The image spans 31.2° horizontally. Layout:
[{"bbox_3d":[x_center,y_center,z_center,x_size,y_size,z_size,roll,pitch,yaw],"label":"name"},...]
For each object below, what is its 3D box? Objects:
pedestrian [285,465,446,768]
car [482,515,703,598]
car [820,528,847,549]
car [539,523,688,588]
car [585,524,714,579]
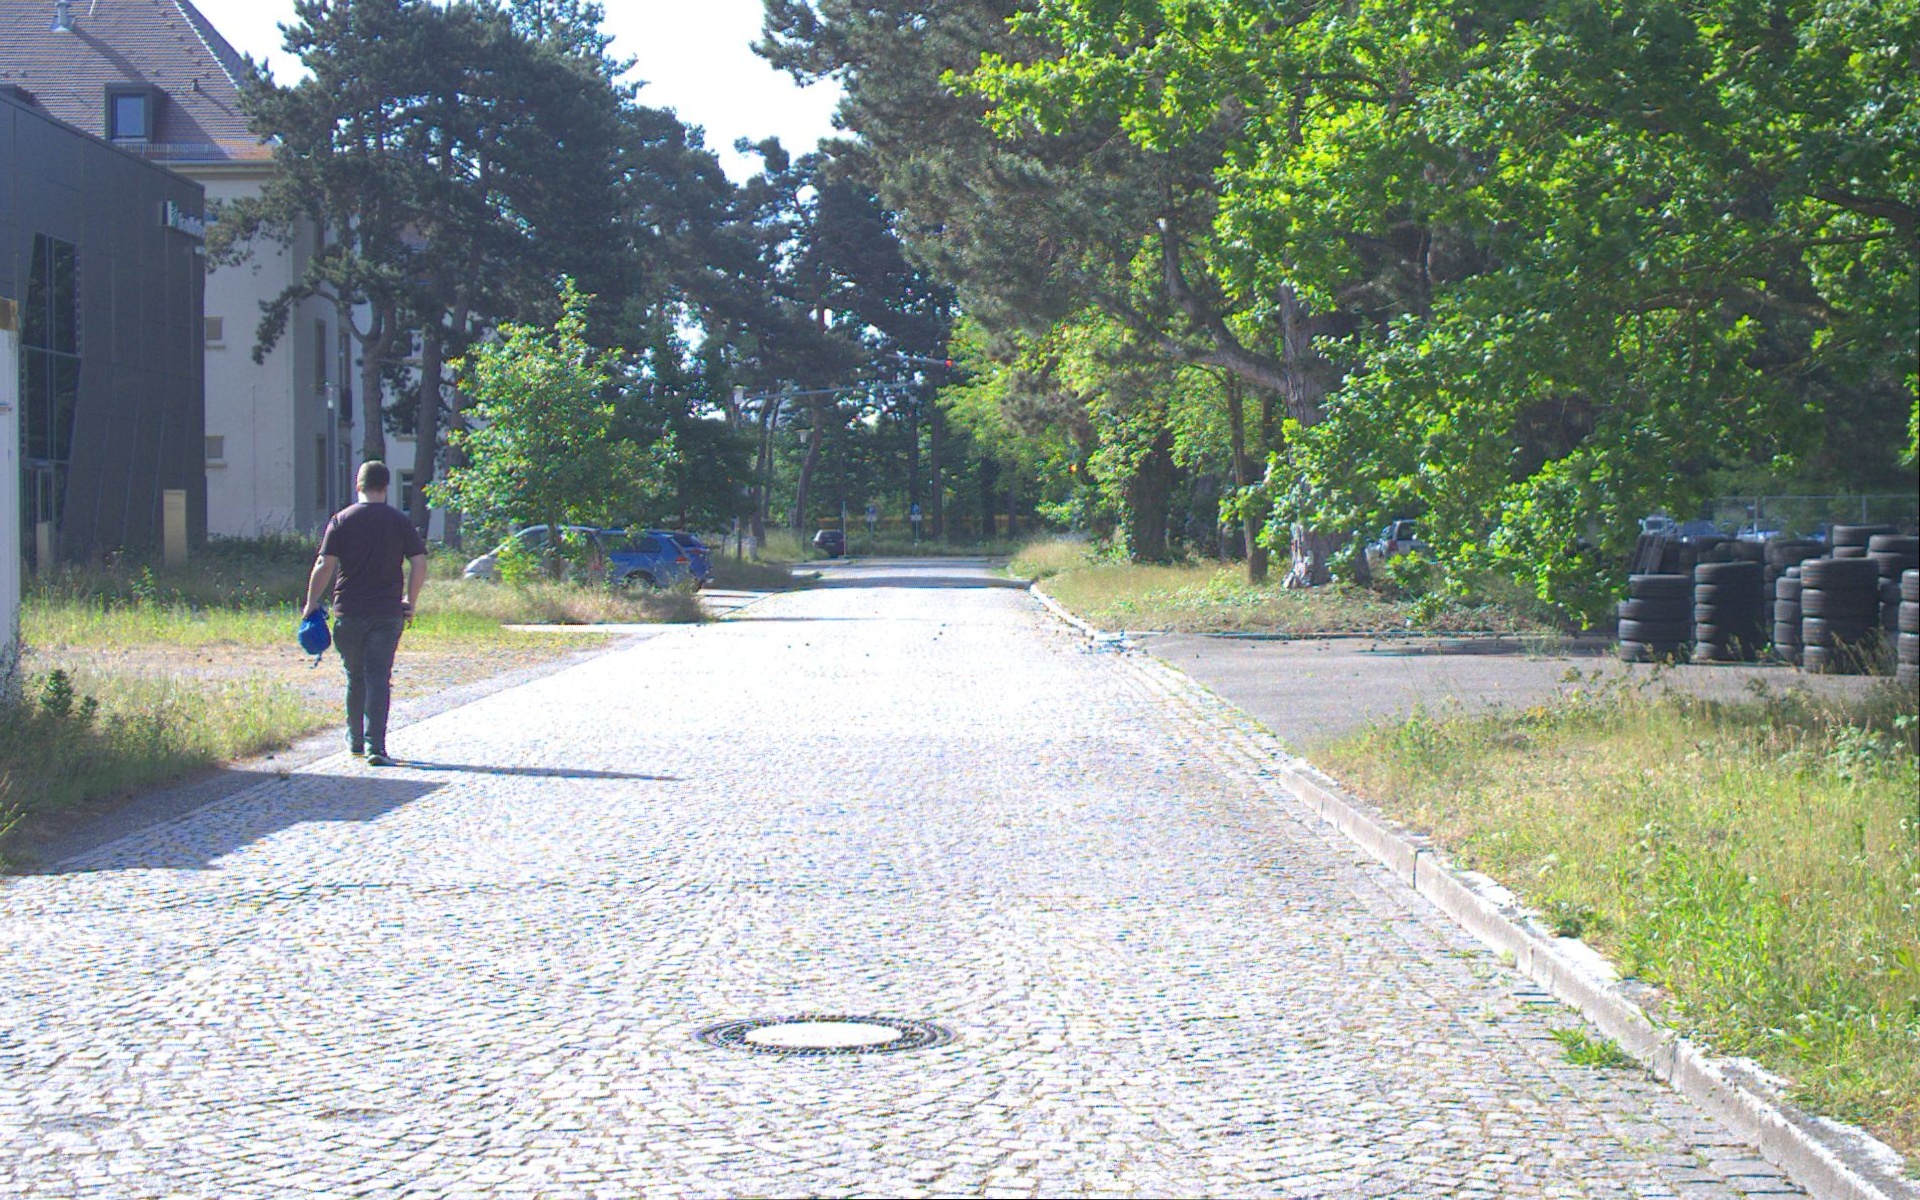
[{"bbox_3d":[-3.593,0.087,20.859,0.795,1.774,1.069,1,1,-2],"label":"pedestrian"},{"bbox_3d":[-6.573,-0.789,61.732,3.833,1.436,1.583,-1,1,-2],"label":"car"},{"bbox_3d":[-6.785,-3.298,184.319,1.369,1.095,2.863,0,1,-3],"label":"car"},{"bbox_3d":[-6.954,-0.898,68.983,2.901,1.255,1.288,-1,1,-9],"label":"car"},{"bbox_3d":[-7.084,-1.117,78.354,2.853,1.202,1.374,-1,1,-9],"label":"car"}]
